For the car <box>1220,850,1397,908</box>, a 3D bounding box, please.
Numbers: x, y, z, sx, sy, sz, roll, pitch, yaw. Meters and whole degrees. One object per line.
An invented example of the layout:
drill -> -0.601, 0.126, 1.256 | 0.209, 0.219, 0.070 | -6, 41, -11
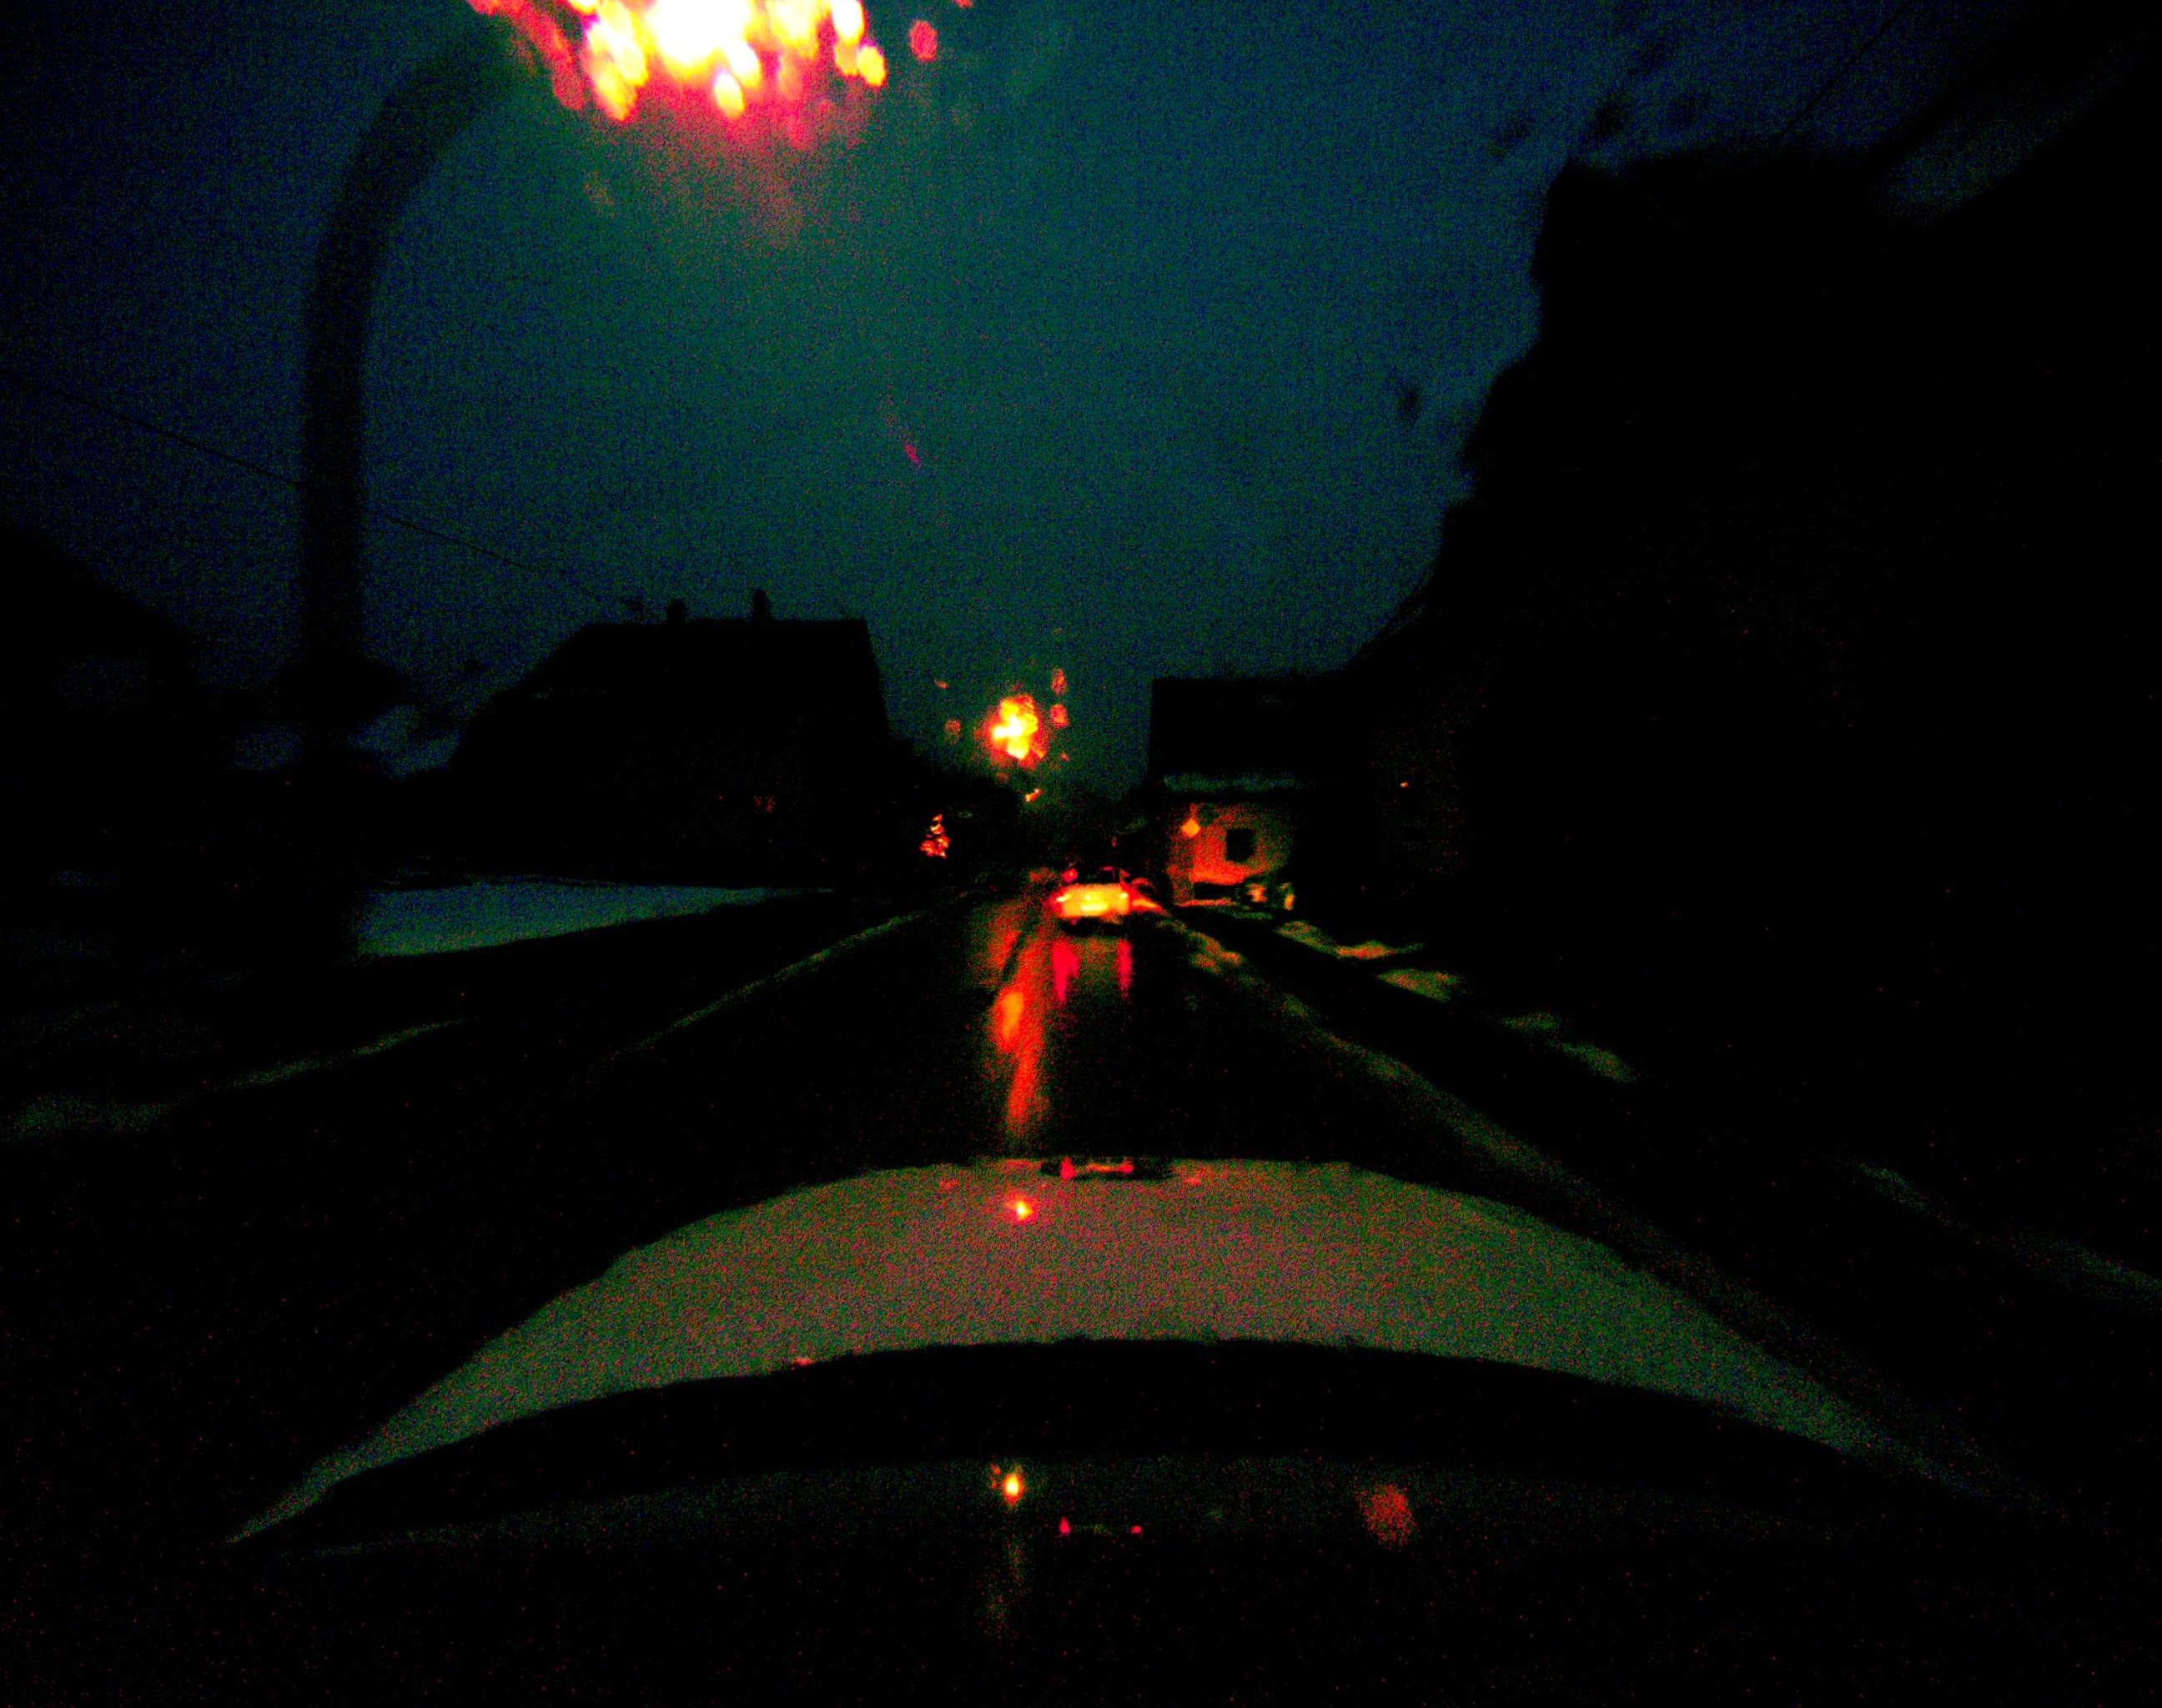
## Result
car -> 5.994, 0.648, 21.769 | 4.162, 1.433, 1.899 | 1, 0, -4

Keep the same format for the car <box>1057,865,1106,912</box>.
car -> 0.023, 1.214, 29.641 | 1.640, 1.596, 3.698 | 1, -1, 0

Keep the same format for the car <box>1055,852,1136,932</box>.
car -> 0.260, 0.804, 18.460 | 1.641, 1.596, 3.697 | 1, -1, -1

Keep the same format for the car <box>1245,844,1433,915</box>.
car -> 5.877, 0.559, 18.805 | 3.735, 1.497, 1.818 | -1, 0, -5
